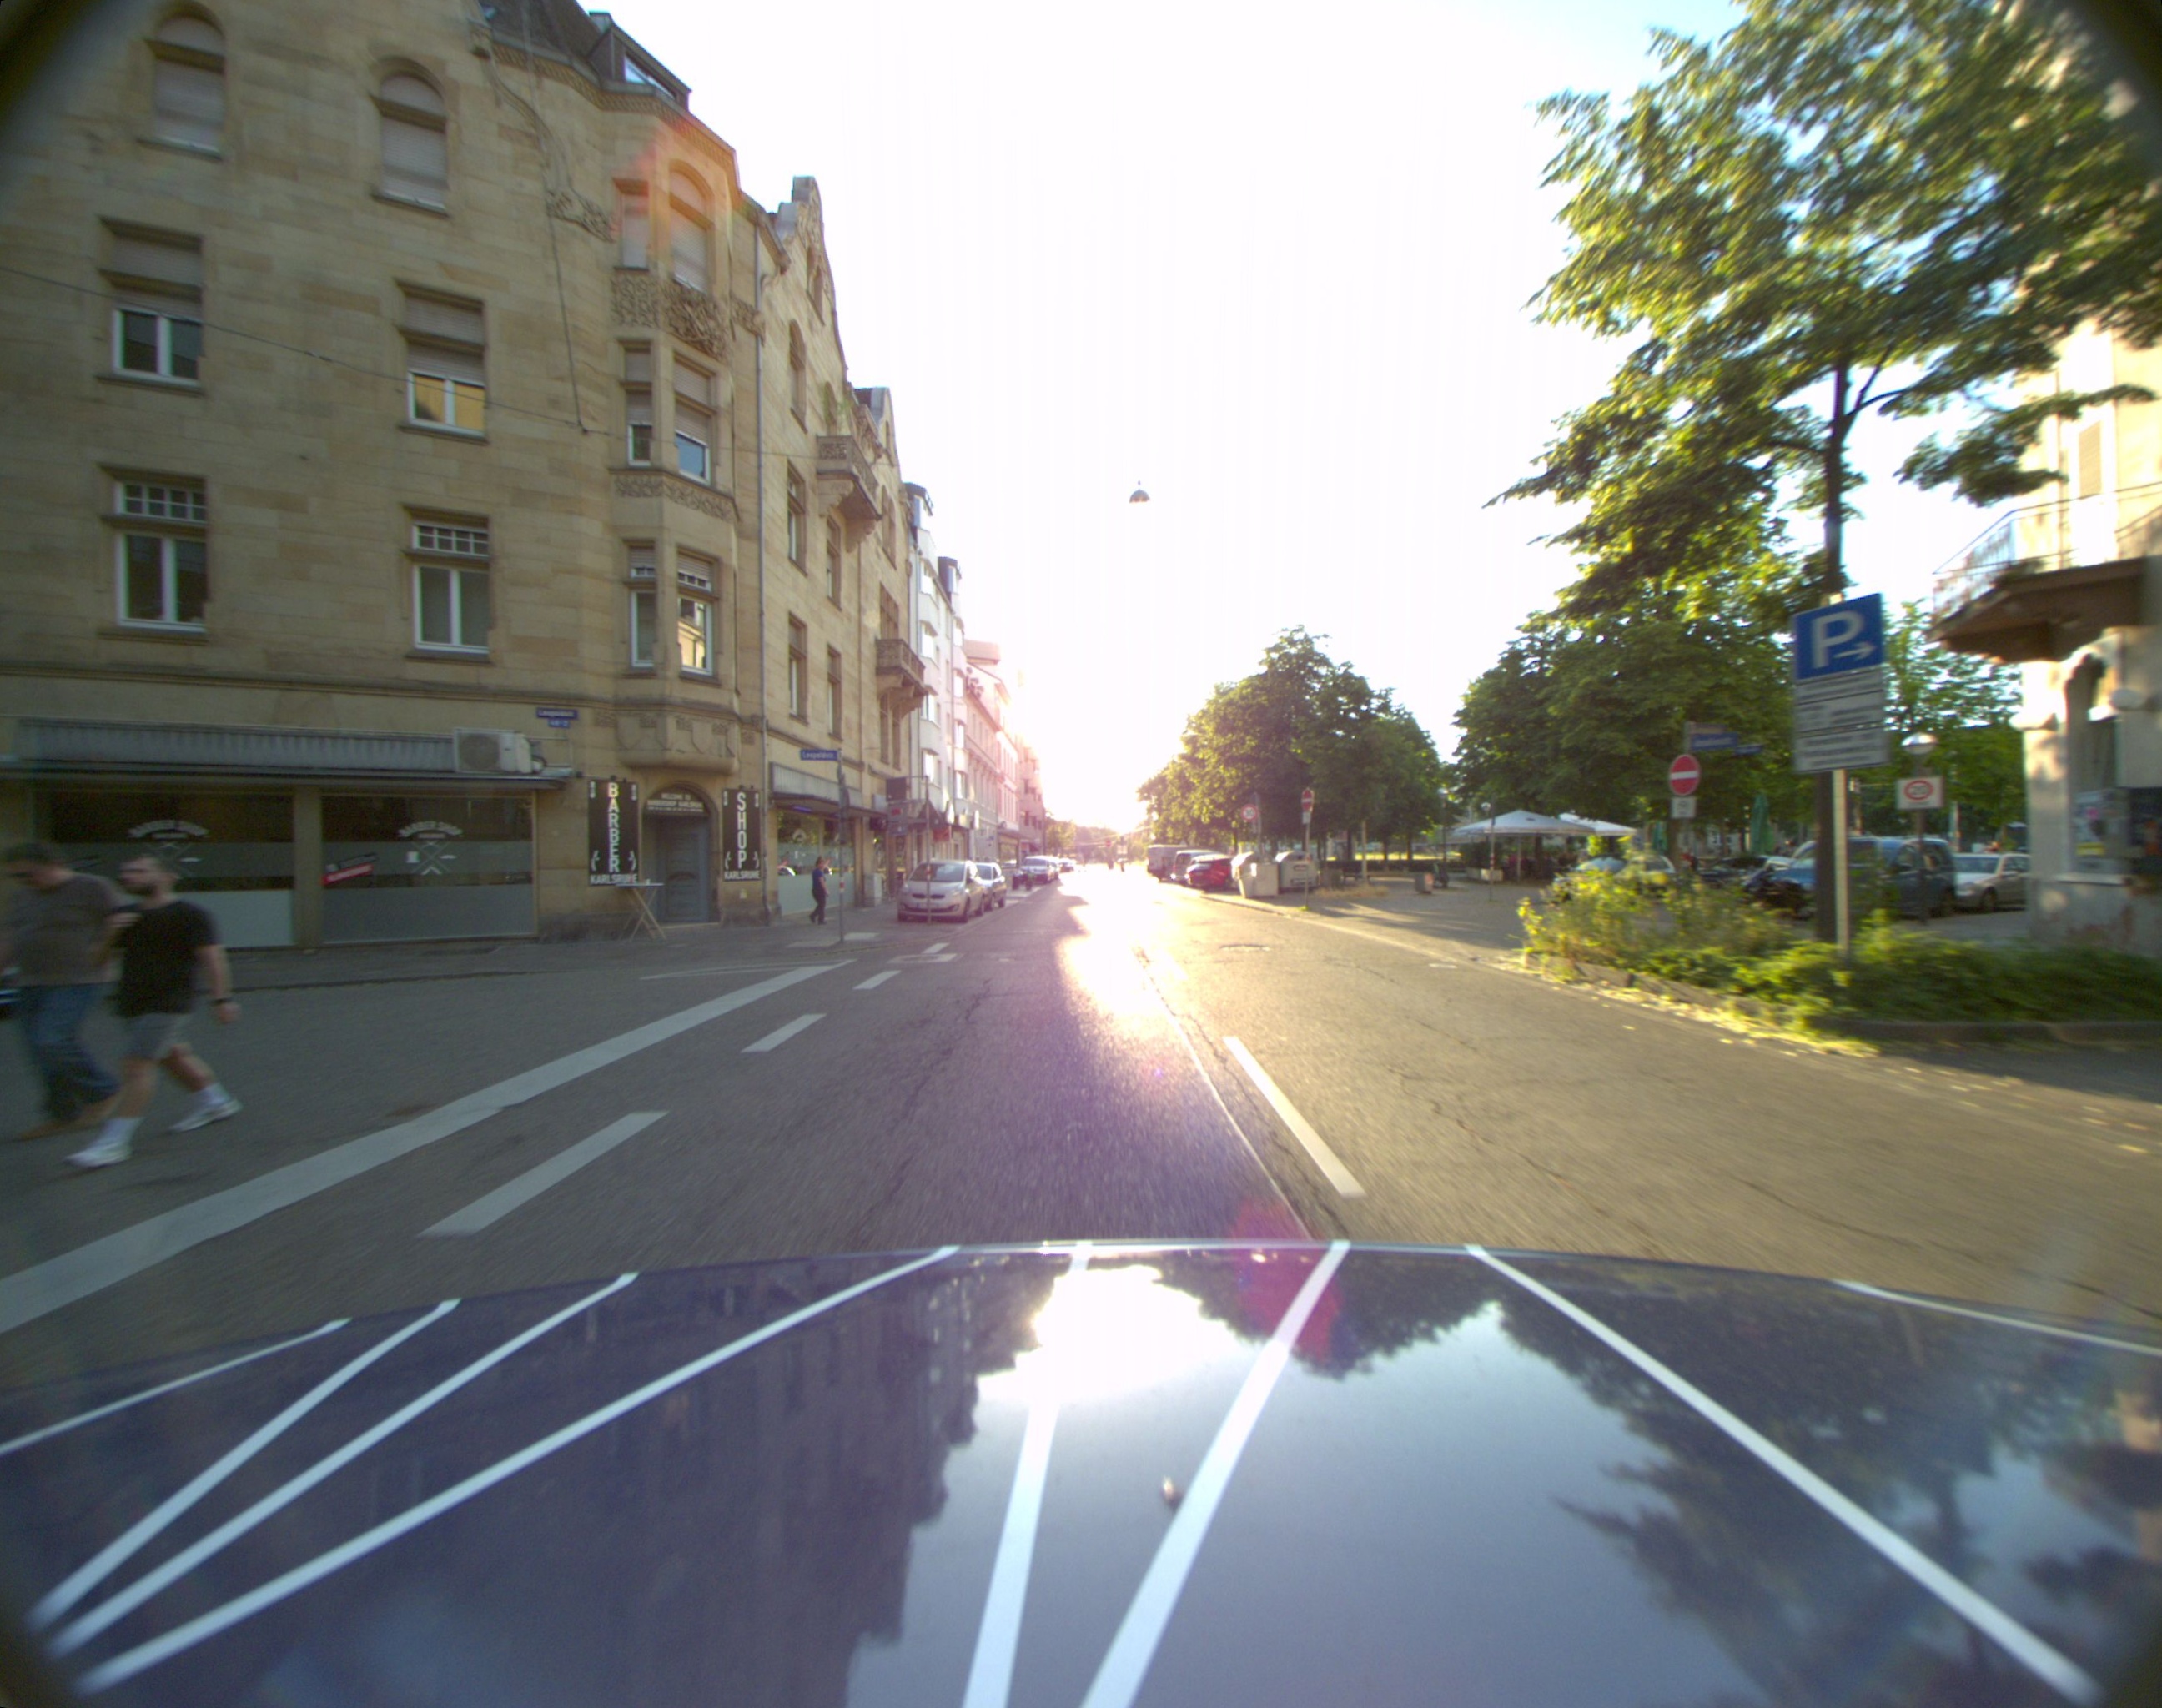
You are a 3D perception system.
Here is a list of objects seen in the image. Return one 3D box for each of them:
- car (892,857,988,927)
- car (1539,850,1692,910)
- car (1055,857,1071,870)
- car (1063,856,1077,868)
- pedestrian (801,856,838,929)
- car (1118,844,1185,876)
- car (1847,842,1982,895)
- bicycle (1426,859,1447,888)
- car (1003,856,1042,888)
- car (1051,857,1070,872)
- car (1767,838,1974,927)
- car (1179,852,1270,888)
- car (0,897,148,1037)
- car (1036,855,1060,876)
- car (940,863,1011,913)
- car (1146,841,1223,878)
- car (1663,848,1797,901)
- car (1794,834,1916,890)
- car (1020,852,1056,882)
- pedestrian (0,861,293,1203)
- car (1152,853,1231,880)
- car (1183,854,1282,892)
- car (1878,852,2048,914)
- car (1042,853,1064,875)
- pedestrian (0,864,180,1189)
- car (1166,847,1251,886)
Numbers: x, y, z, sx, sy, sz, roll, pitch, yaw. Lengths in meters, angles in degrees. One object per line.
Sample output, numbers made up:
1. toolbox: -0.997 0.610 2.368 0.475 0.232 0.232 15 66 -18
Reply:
1. car: -3.662 0.939 20.368 1.758 1.638 3.794 2 0 1
2. car: 15.296 0.689 21.744 4.005 1.499 1.810 -1 0 -25
3. car: -2.268 1.128 96.223 1.804 1.570 4.403 1 0 1
4. car: -1.571 1.151 109.949 1.804 1.570 4.403 1 0 1
5. pedestrian: -6.080 0.879 17.695 0.599 1.653 0.603 1 1 9
6. car: 5.505 0.437 59.491 4.782 2.344 2.153 -1 0 -27
7. car: 26.828 0.439 24.463 4.005 1.541 1.810 -1 0 -25
8. bicycle: 13.465 0.730 28.794 0.581 1.026 1.858 -2 -2 22
9. car: -3.249 0.970 42.908 1.758 1.638 3.794 2 0 1
10. car: -2.281 1.145 85.539 1.804 1.570 4.403 1 0 1
11. car: 17.514 0.567 16.862 4.005 1.718 1.996 -1 0 -25
12. car: 7.279 0.772 38.287 4.579 1.623 1.896 -1 0 -37
13. car: -13.997 1.286 8.064 4.772 1.409 1.976 -1 0 -22
14. car: -2.710 0.955 63.676 1.758 1.638 3.794 2 0 1
15. car: -3.412 1.065 25.190 1.580 1.450 3.588 2 0 4
16. car: 7.057 0.364 51.759 4.782 2.344 2.153 -1 0 -27
17. car: 20.501 0.596 23.983 4.005 1.499 1.810 -1 0 -27
18. car: 27.624 0.247 27.098 4.005 1.831 1.810 -1 0 -25
19. car: -2.832 0.830 51.234 1.867 1.900 4.256 2 0 4
20. pedestrian: -5.314 0.926 4.326 0.756 1.748 0.812 -1 0 1
21. car: 7.093 0.798 48.586 4.577 1.573 2.131 -1 0 -28
22. car: 6.965 0.829 34.806 4.579 1.548 1.809 -1 0 -37
23. car: 22.042 0.667 18.989 4.005 1.324 1.748 -1 0 -25
24. car: -2.584 0.921 70.807 1.804 1.909 4.403 1 0 1
25. pedestrian: -6.237 0.946 4.512 0.756 1.748 0.812 -1 0 1
26. car: 7.024 0.656 41.561 4.579 1.922 1.896 -1 0 -37
